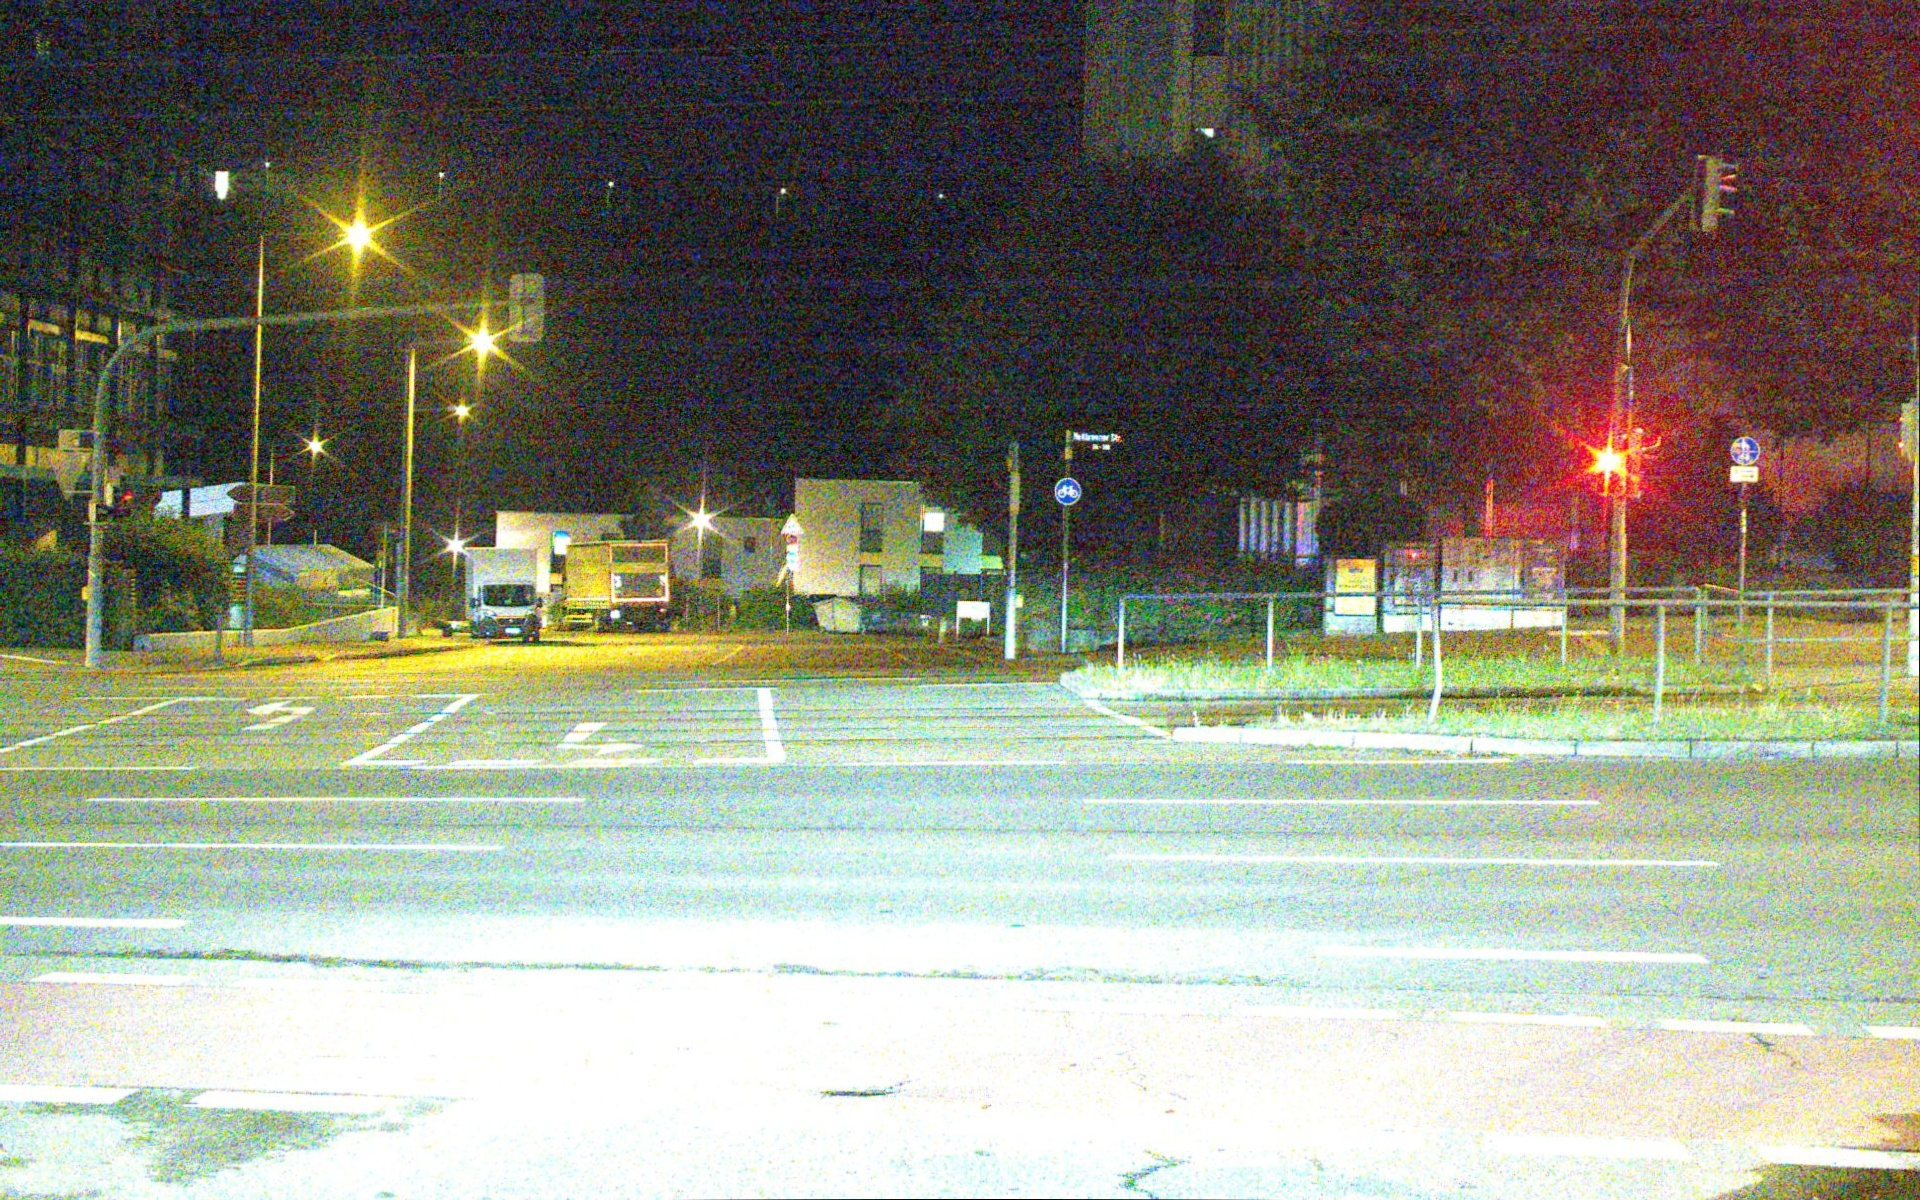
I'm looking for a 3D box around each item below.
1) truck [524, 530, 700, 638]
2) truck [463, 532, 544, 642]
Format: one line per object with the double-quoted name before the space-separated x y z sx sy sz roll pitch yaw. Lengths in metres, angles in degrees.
"truck" -15.453 -0.756 151.238 4.821 4.531 12.669 1 1 -19
"truck" -15.891 -0.466 119.365 2.582 3.694 5.739 1 1 -9
